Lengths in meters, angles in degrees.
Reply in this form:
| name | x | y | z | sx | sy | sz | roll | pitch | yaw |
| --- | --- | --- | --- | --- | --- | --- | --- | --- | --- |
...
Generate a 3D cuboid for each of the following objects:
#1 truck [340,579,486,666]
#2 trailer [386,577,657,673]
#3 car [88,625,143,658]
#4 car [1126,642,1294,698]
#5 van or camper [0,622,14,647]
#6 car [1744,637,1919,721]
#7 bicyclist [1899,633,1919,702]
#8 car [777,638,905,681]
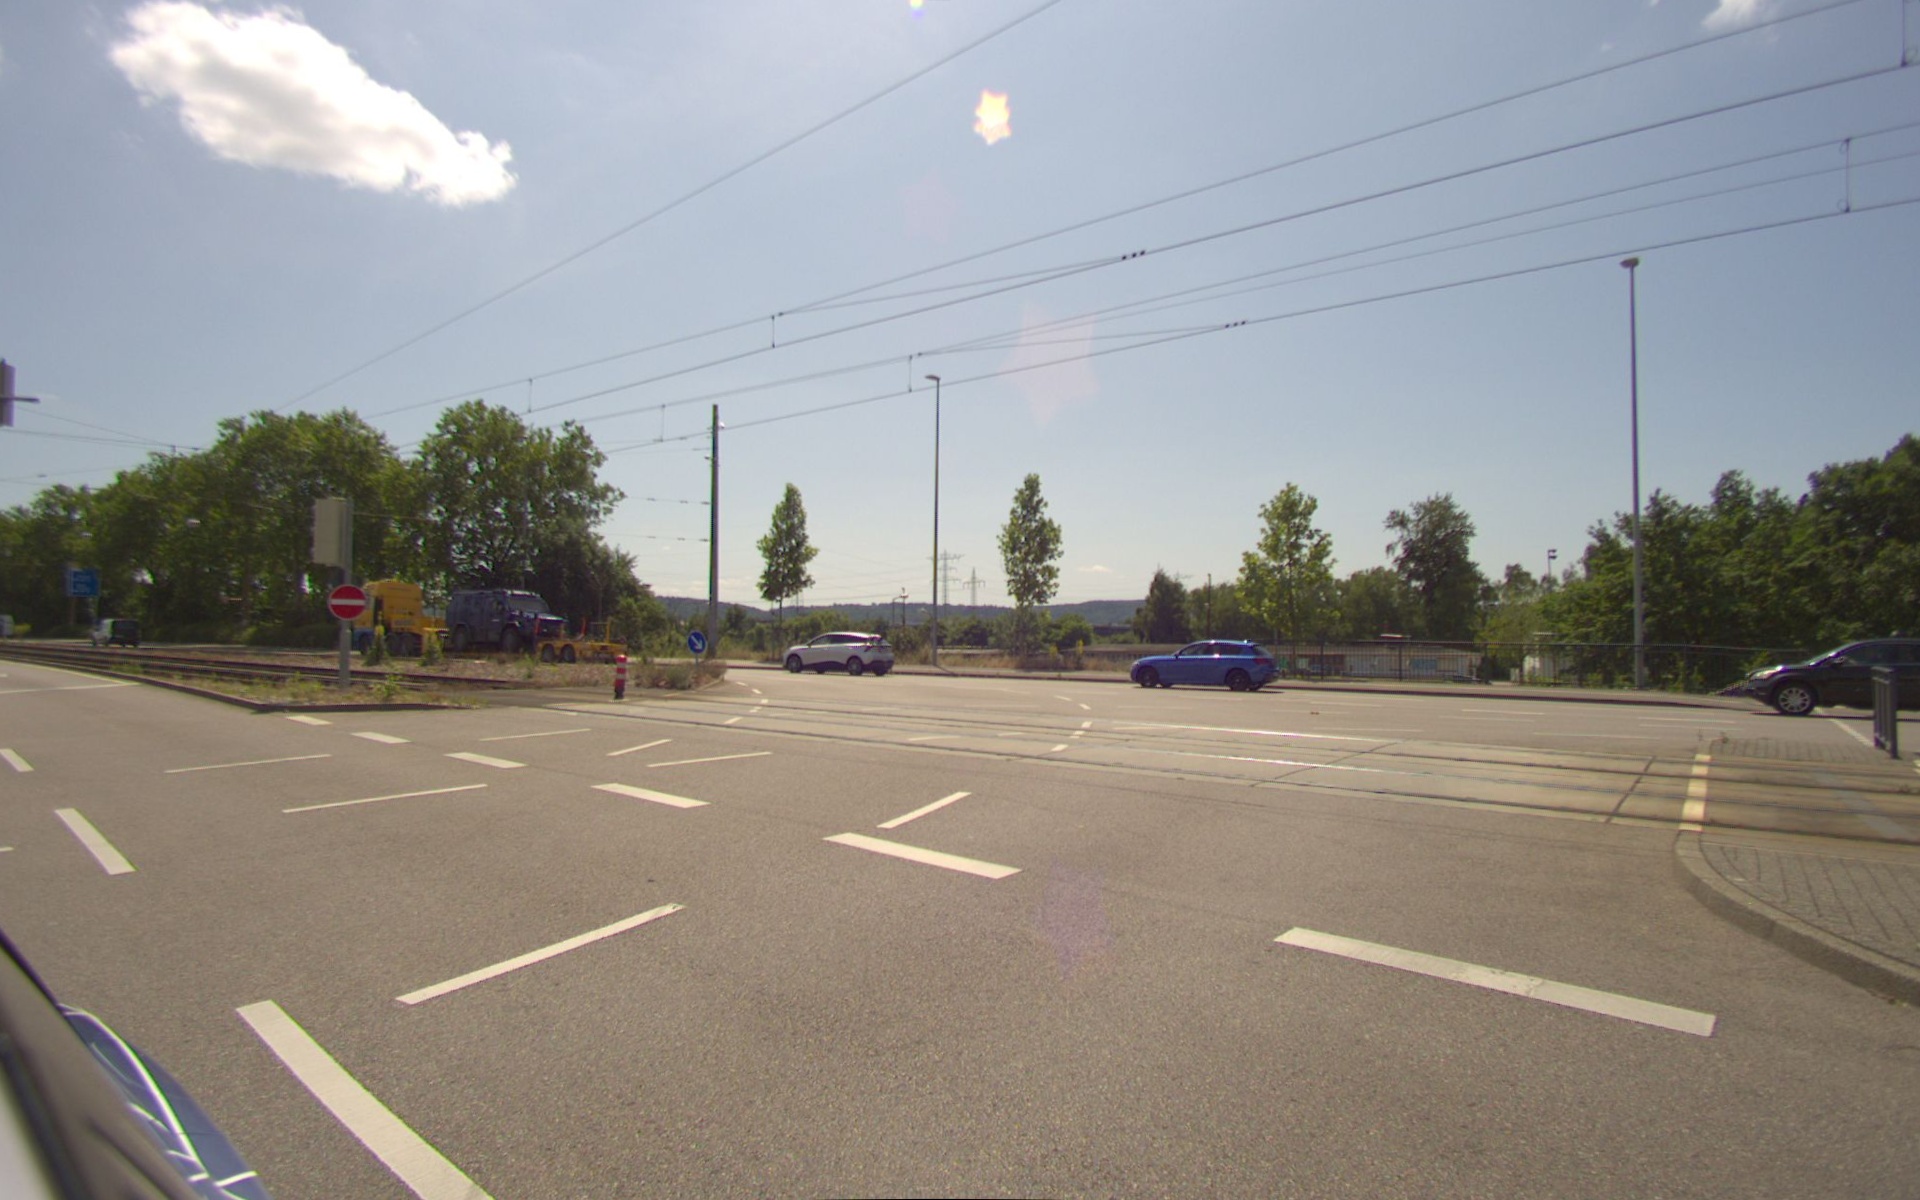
| name | x | y | z | sx | sy | sz | roll | pitch | yaw |
| --- | --- | --- | --- | --- | --- | --- | --- | --- | --- |
| truck | -27.402 | 1.153 | 50.628 | 7.450 | 4.070 | 3.102 | -1 | -2 | 32 |
| trailer | -20.447 | 1.308 | 46.381 | 15.427 | 3.900 | 3.091 | -2 | -3 | 32 |
| car | -56.285 | 2.784 | 67.438 | 4.428 | 1.852 | 1.974 | -6 | -7 | 39 |
| car | 7.231 | 1.972 | 29.395 | 4.337 | 1.456 | 1.977 | -1 | -2 | 34 |
| van or camper | -102.137 | 3.631 | 106.864 | 5.828 | 2.606 | 1.977 | -1 | -3 | 34 |
| car | 19.160 | 1.615 | 21.168 | 4.302 | 1.642 | 1.975 | -2 | -2 | 38 |
| bicyclist | 22.811 | 1.611 | 24.146 | 0.544 | 1.622 | 0.579 | -2 | -3 | 44 |
| car | -4.312 | 2.107 | 36.475 | 4.261 | 1.474 | 1.980 | -1 | -2 | 30 |
